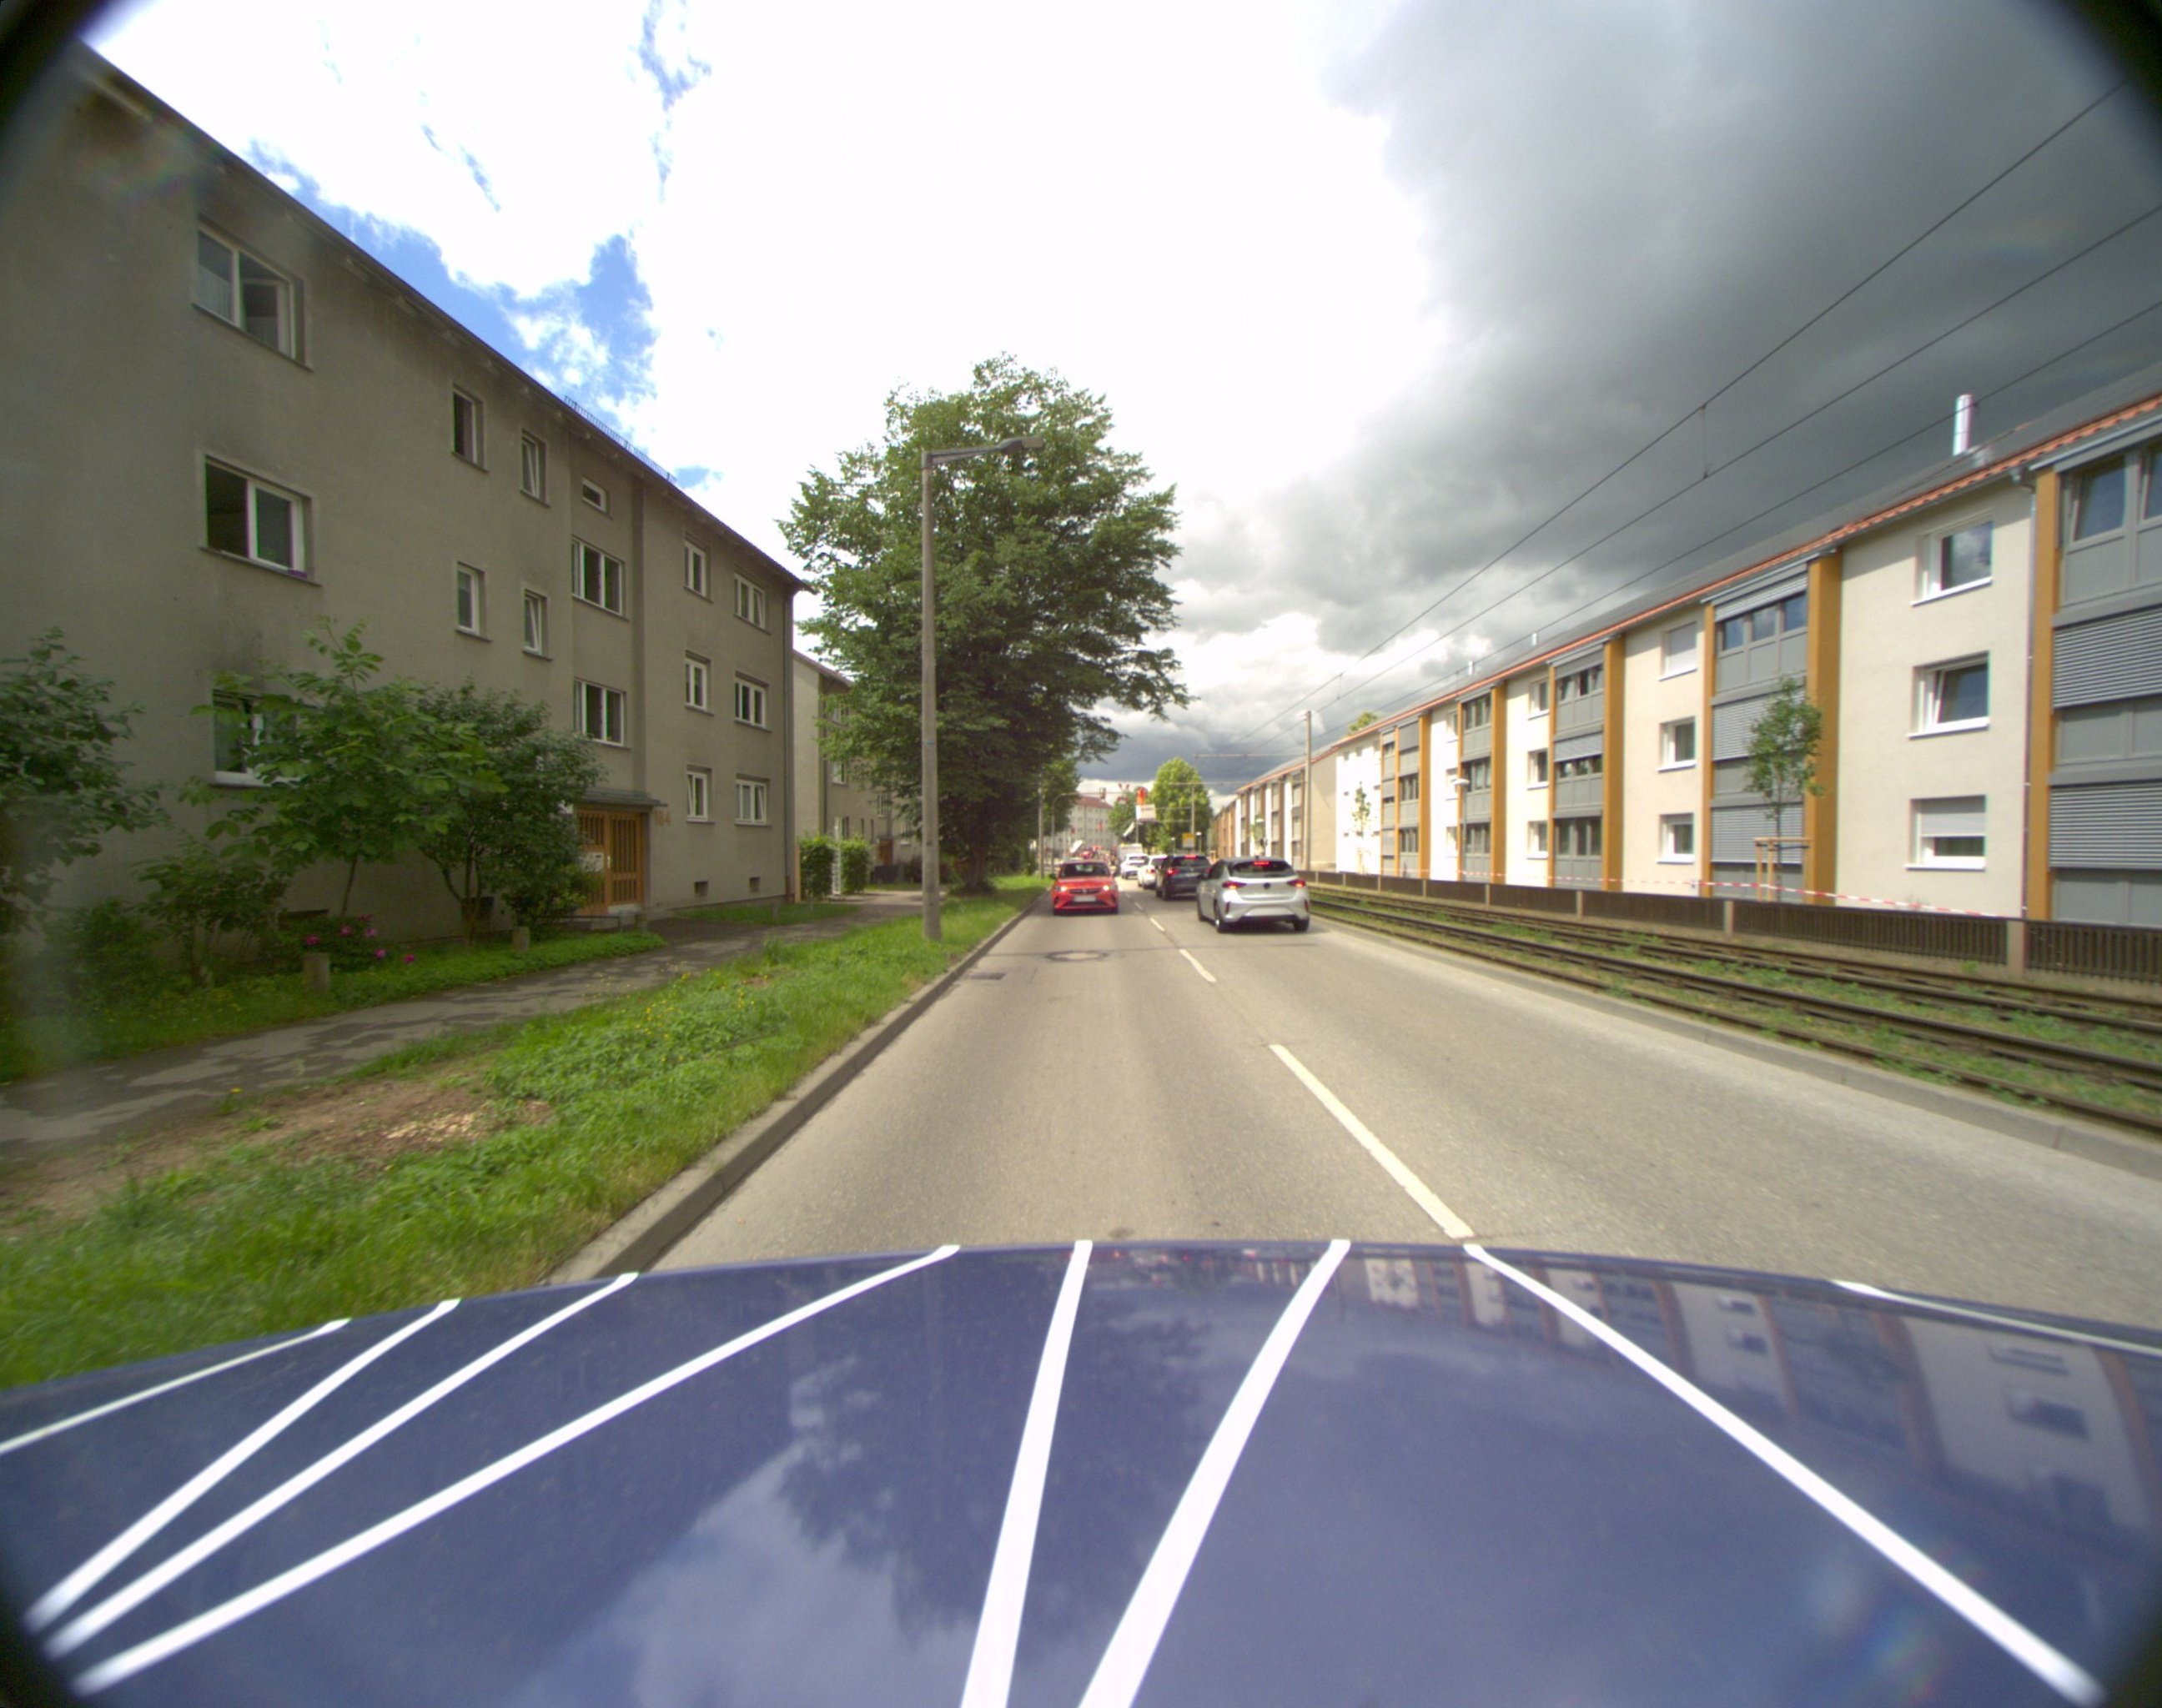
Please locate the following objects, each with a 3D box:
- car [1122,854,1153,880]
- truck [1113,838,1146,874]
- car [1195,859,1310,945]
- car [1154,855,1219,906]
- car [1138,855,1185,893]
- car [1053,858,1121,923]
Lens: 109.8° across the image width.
[{"bbox_3d":[3.503,0.792,47.499,1.666,1.513,3.861,-2,0,1],"label":"car"},{"bbox_3d":[3.796,0.111,60.302,2.096,2.724,5.096,-2,1,-2],"label":"truck"},{"bbox_3d":[3.335,0.876,15.422,1.613,1.405,3.647,-2,1,2],"label":"car"},{"bbox_3d":[3.477,0.817,25.554,1.666,1.513,3.678,-2,0,1],"label":"car"},{"bbox_3d":[3.487,0.824,33.469,1.666,1.513,3.786,-2,0,1],"label":"car"},{"bbox_3d":[0.167,0.930,20.969,1.666,1.513,3.786,-2,1,1],"label":"car"}]
